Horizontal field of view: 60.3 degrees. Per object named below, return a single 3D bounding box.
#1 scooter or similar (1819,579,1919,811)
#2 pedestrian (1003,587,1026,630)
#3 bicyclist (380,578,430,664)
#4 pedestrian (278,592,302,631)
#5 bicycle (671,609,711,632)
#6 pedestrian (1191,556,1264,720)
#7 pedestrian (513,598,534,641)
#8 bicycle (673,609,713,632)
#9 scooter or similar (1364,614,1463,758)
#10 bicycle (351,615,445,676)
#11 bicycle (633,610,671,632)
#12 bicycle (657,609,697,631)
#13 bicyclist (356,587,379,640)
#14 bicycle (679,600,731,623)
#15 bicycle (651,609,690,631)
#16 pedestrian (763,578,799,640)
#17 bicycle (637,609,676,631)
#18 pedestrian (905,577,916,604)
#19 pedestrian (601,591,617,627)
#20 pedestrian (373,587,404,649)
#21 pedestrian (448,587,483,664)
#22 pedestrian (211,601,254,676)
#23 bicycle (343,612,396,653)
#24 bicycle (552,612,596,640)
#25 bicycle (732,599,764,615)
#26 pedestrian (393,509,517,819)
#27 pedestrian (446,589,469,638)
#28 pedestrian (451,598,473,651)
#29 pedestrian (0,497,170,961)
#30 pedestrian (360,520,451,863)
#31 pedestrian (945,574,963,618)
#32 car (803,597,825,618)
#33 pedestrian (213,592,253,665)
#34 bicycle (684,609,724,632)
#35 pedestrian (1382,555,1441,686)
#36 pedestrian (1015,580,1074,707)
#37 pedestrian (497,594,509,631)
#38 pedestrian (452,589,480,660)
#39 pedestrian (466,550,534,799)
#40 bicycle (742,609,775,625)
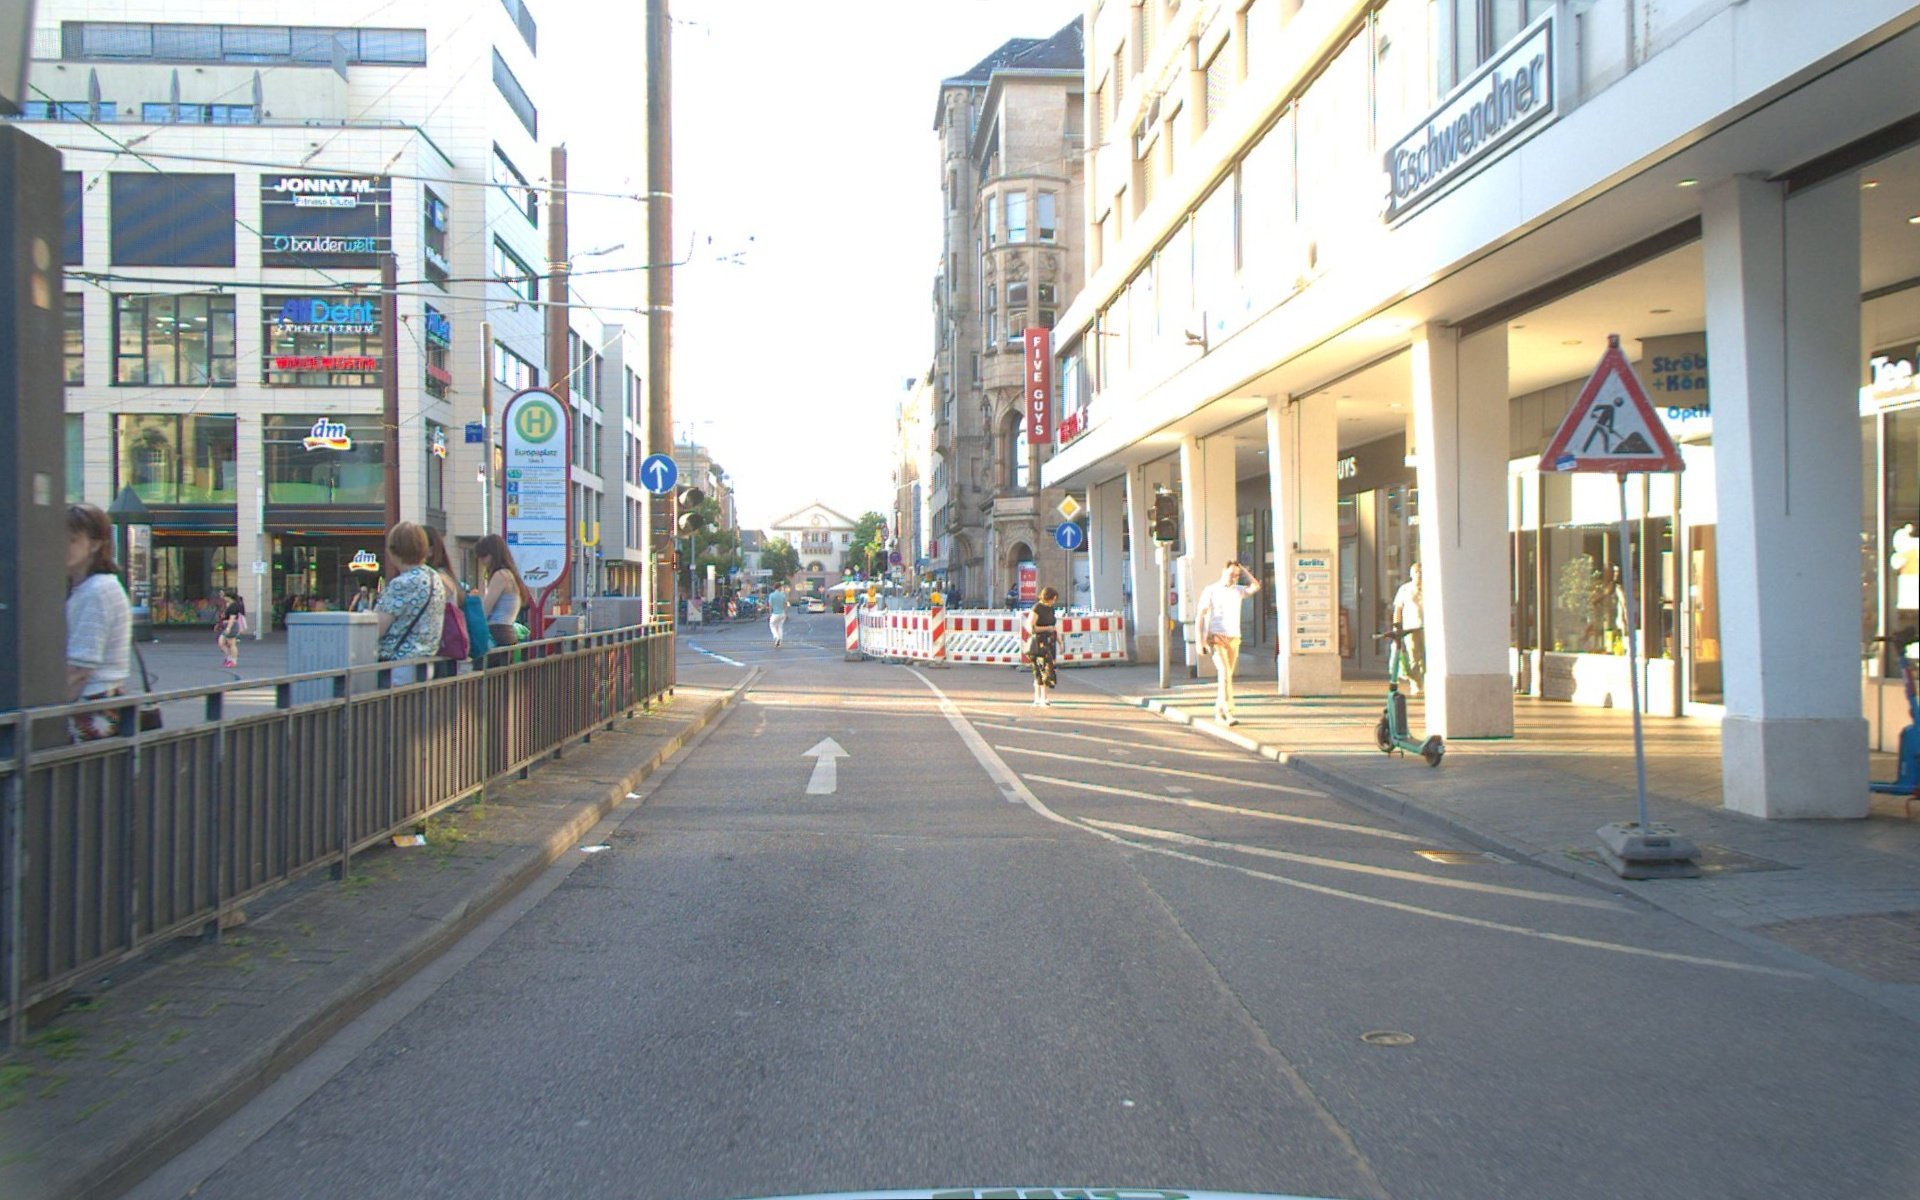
[{"bbox_3d":[6.394,0.622,11.271,0.307,1.514,1.314,-1,0,-4],"label":"scooter or similar"},{"bbox_3d":[2.095,0.324,63.811,0.803,1.639,0.712,1,-1,-5],"label":"pedestrian"},{"bbox_3d":[-10.668,0.400,31.771,0.782,1.621,0.603,0,0,-34],"label":"bicyclist"},{"bbox_3d":[-26.650,0.458,65.814,0.560,1.553,0.791,1,-1,8],"label":"pedestrian"},{"bbox_3d":[-13.756,1.047,84.548,1.949,1.141,0.552,1,-1,-34],"label":"bicycle"},{"bbox_3d":[3.085,0.431,19.137,0.685,1.847,0.852,1,0,0],"label":"pedestrian"},{"bbox_3d":[-18.232,0.799,69.091,0.767,1.782,0.599,1,-1,-7],"label":"pedestrian"},{"bbox_3d":[-13.511,1.045,83.849,1.949,1.141,0.552,1,-1,-34],"label":"bicycle"},{"bbox_3d":[4.151,0.766,15.203,0.495,1.256,1.178,-1,0,-5],"label":"scooter or similar"},{"bbox_3d":[-10.772,0.864,31.703,1.605,1.123,0.622,-1,-1,-33],"label":"bicycle"},{"bbox_3d":[-16.396,1.113,88.018,1.949,1.141,0.552,1,-1,-34],"label":"bicycle"},{"bbox_3d":[-14.608,1.043,85.336,1.949,1.141,0.552,1,-1,-34],"label":"bicycle"},{"bbox_3d":[-16.608,0.376,46.374,0.412,1.452,0.564,1,-1,4],"label":"bicyclist"},{"bbox_3d":[-14.453,0.640,93.816,2.857,1.277,0.796,-1,0,-31],"label":"bicycle"},{"bbox_3d":[-15.051,1.042,85.943,1.949,1.141,0.552,1,-1,-34],"label":"bicycle"},{"bbox_3d":[-5.200,0.266,48.058,0.847,1.792,0.768,1,-1,8],"label":"pedestrian"},{"bbox_3d":[-15.978,1.039,87.103,1.949,1.141,0.552,1,-1,-34],"label":"bicycle"},{"bbox_3d":[-3.211,-0.610,106.540,0.631,1.719,0.670,-1,0,-6],"label":"pedestrian"},{"bbox_3d":[-16.850,0.430,79.405,0.668,1.710,0.599,1,-1,-7],"label":"pedestrian"},{"bbox_3d":[-15.888,0.502,46.019,0.635,1.703,0.530,-1,0,4],"label":"pedestrian"},{"bbox_3d":[-11.248,0.565,37.611,0.733,1.730,0.606,0,0,-21],"label":"pedestrian"},{"bbox_3d":[-16.258,0.856,36.968,0.812,1.642,0.686,-1,0,-30],"label":"pedestrian"},{"bbox_3d":[-16.610,0.894,46.542,0.560,1.117,2.024,1,0,6],"label":"bicycle"},{"bbox_3d":[-15.989,1.068,68.529,1.662,1.141,0.450,1,-1,-2],"label":"bicycle"},{"bbox_3d":[-14.592,0.495,113.714,2.105,1.047,0.640,-1,0,-3],"label":"bicycle"},{"bbox_3d":[-3.013,0.373,9.910,0.528,1.798,0.594,1,-1,1],"label":"pedestrian"},{"bbox_3d":[-19.637,0.529,64.618,0.560,1.887,0.817,1,-1,8],"label":"pedestrian"},{"bbox_3d":[-16.376,0.795,54.394,0.518,1.703,0.650,-1,0,-3],"label":"pedestrian"},{"bbox_3d":[-3.300,0.469,6.256,0.378,1.670,0.549,1,-1,-6],"label":"pedestrian"},{"bbox_3d":[-3.044,0.491,9.102,0.335,1.827,0.544,1,-1,-6],"label":"pedestrian"},{"bbox_3d":[-0.219,-0.154,64.632,0.613,1.719,0.670,-1,0,-6],"label":"pedestrian"},{"bbox_3d":[-13.788,0.735,156.326,1.954,1.937,3.996,1,0,-5],"label":"car"},{"bbox_3d":[-16.570,0.644,37.682,0.761,1.642,0.660,-1,0,-30],"label":"pedestrian"},{"bbox_3d":[-12.856,1.047,83.150,1.949,1.141,0.552,1,-1,-34],"label":"bicycle"},{"bbox_3d":[6.460,0.295,23.708,0.684,1.847,0.631,1,0,3],"label":"pedestrian"},{"bbox_3d":[1.161,0.595,22.692,0.687,1.723,0.539,1,-1,-12],"label":"pedestrian"},{"bbox_3d":[-18.952,0.514,68.544,0.382,1.541,0.505,-1,0,-6],"label":"pedestrian"},{"bbox_3d":[-11.412,0.561,38.182,0.562,1.621,0.445,0,0,-24],"label":"pedestrian"},{"bbox_3d":[-3.160,0.506,11.384,0.350,1.670,0.502,1,-1,-6],"label":"pedestrian"},{"bbox_3d":[-13.428,1.121,110.397,2.105,1.047,0.640,-1,0,-3],"label":"bicycle"}]
